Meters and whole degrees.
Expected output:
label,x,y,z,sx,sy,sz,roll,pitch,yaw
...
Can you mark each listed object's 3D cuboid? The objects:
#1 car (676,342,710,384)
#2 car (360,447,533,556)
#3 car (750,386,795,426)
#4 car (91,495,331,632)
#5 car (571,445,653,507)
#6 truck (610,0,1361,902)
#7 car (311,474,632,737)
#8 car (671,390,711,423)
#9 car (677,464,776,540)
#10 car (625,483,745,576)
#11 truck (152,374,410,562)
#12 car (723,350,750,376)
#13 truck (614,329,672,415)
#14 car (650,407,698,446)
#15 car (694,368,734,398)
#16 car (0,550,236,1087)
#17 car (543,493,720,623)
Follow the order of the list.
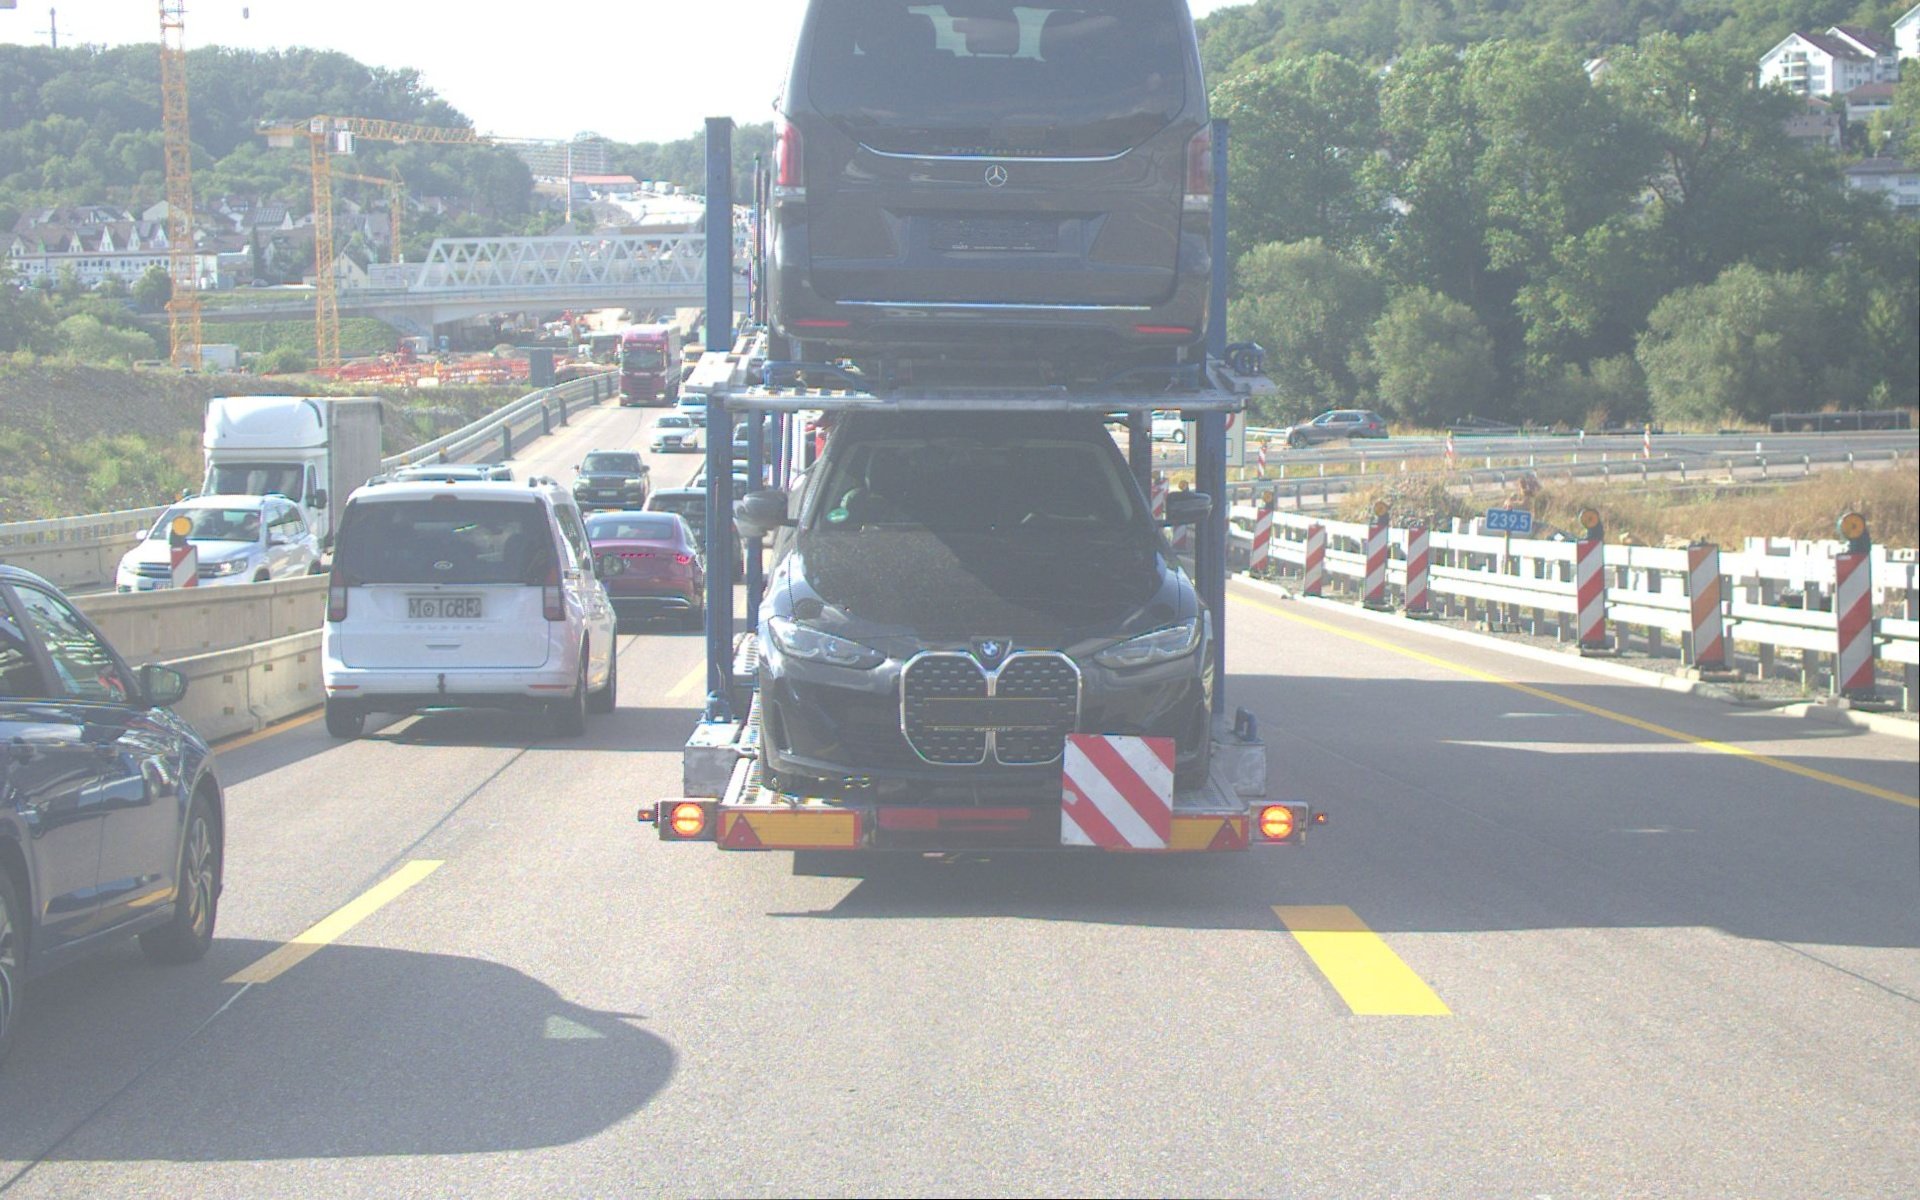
label,x,y,z,sx,sy,sz,roll,pitch,yaw
car,-18.400,-16.323,236.960,1.993,2.869,6.066,0,4,-1
car,-8.847,-1.711,59.678,2.126,1.760,5.031,2,2,1
car,-8.110,-8.380,148.640,1.844,1.642,4.506,0,2,-4
car,-9.807,-0.515,45.336,2.126,1.668,4.272,2,2,1
car,-9.605,-3.406,95.095,1.852,1.630,4.749,2,2,-1
truck,-0.056,-1.060,22.412,2.753,3.941,18.891,1,1,-1
car,-3.531,0.015,25.490,1.823,1.786,4.000,0,1,0
car,-12.542,-9.033,160.630,1.754,1.435,3.805,0,2,-3
car,-5.218,-2.189,77.277,1.993,1.660,4.000,0,1,0
car,-4.797,-1.211,59.726,1.993,1.547,4.001,0,1,-5
truck,-12.620,-2.374,64.562,2.701,3.300,7.536,0,1,5
car,-15.423,-16.362,237.232,1.844,1.642,4.237,0,2,-3
truck,-16.866,-12.099,183.239,2.914,4.372,6.288,1,2,-5
car,-11.596,-7.035,139.731,1.852,1.435,4.559,2,2,-4
car,-13.038,-11.526,182.515,1.821,1.435,4.614,0,2,0
car,-3.454,0.560,10.654,1.722,1.417,4.000,0,0,-2
car,-4.101,-0.528,43.482,1.993,1.551,4.401,0,1,-3
